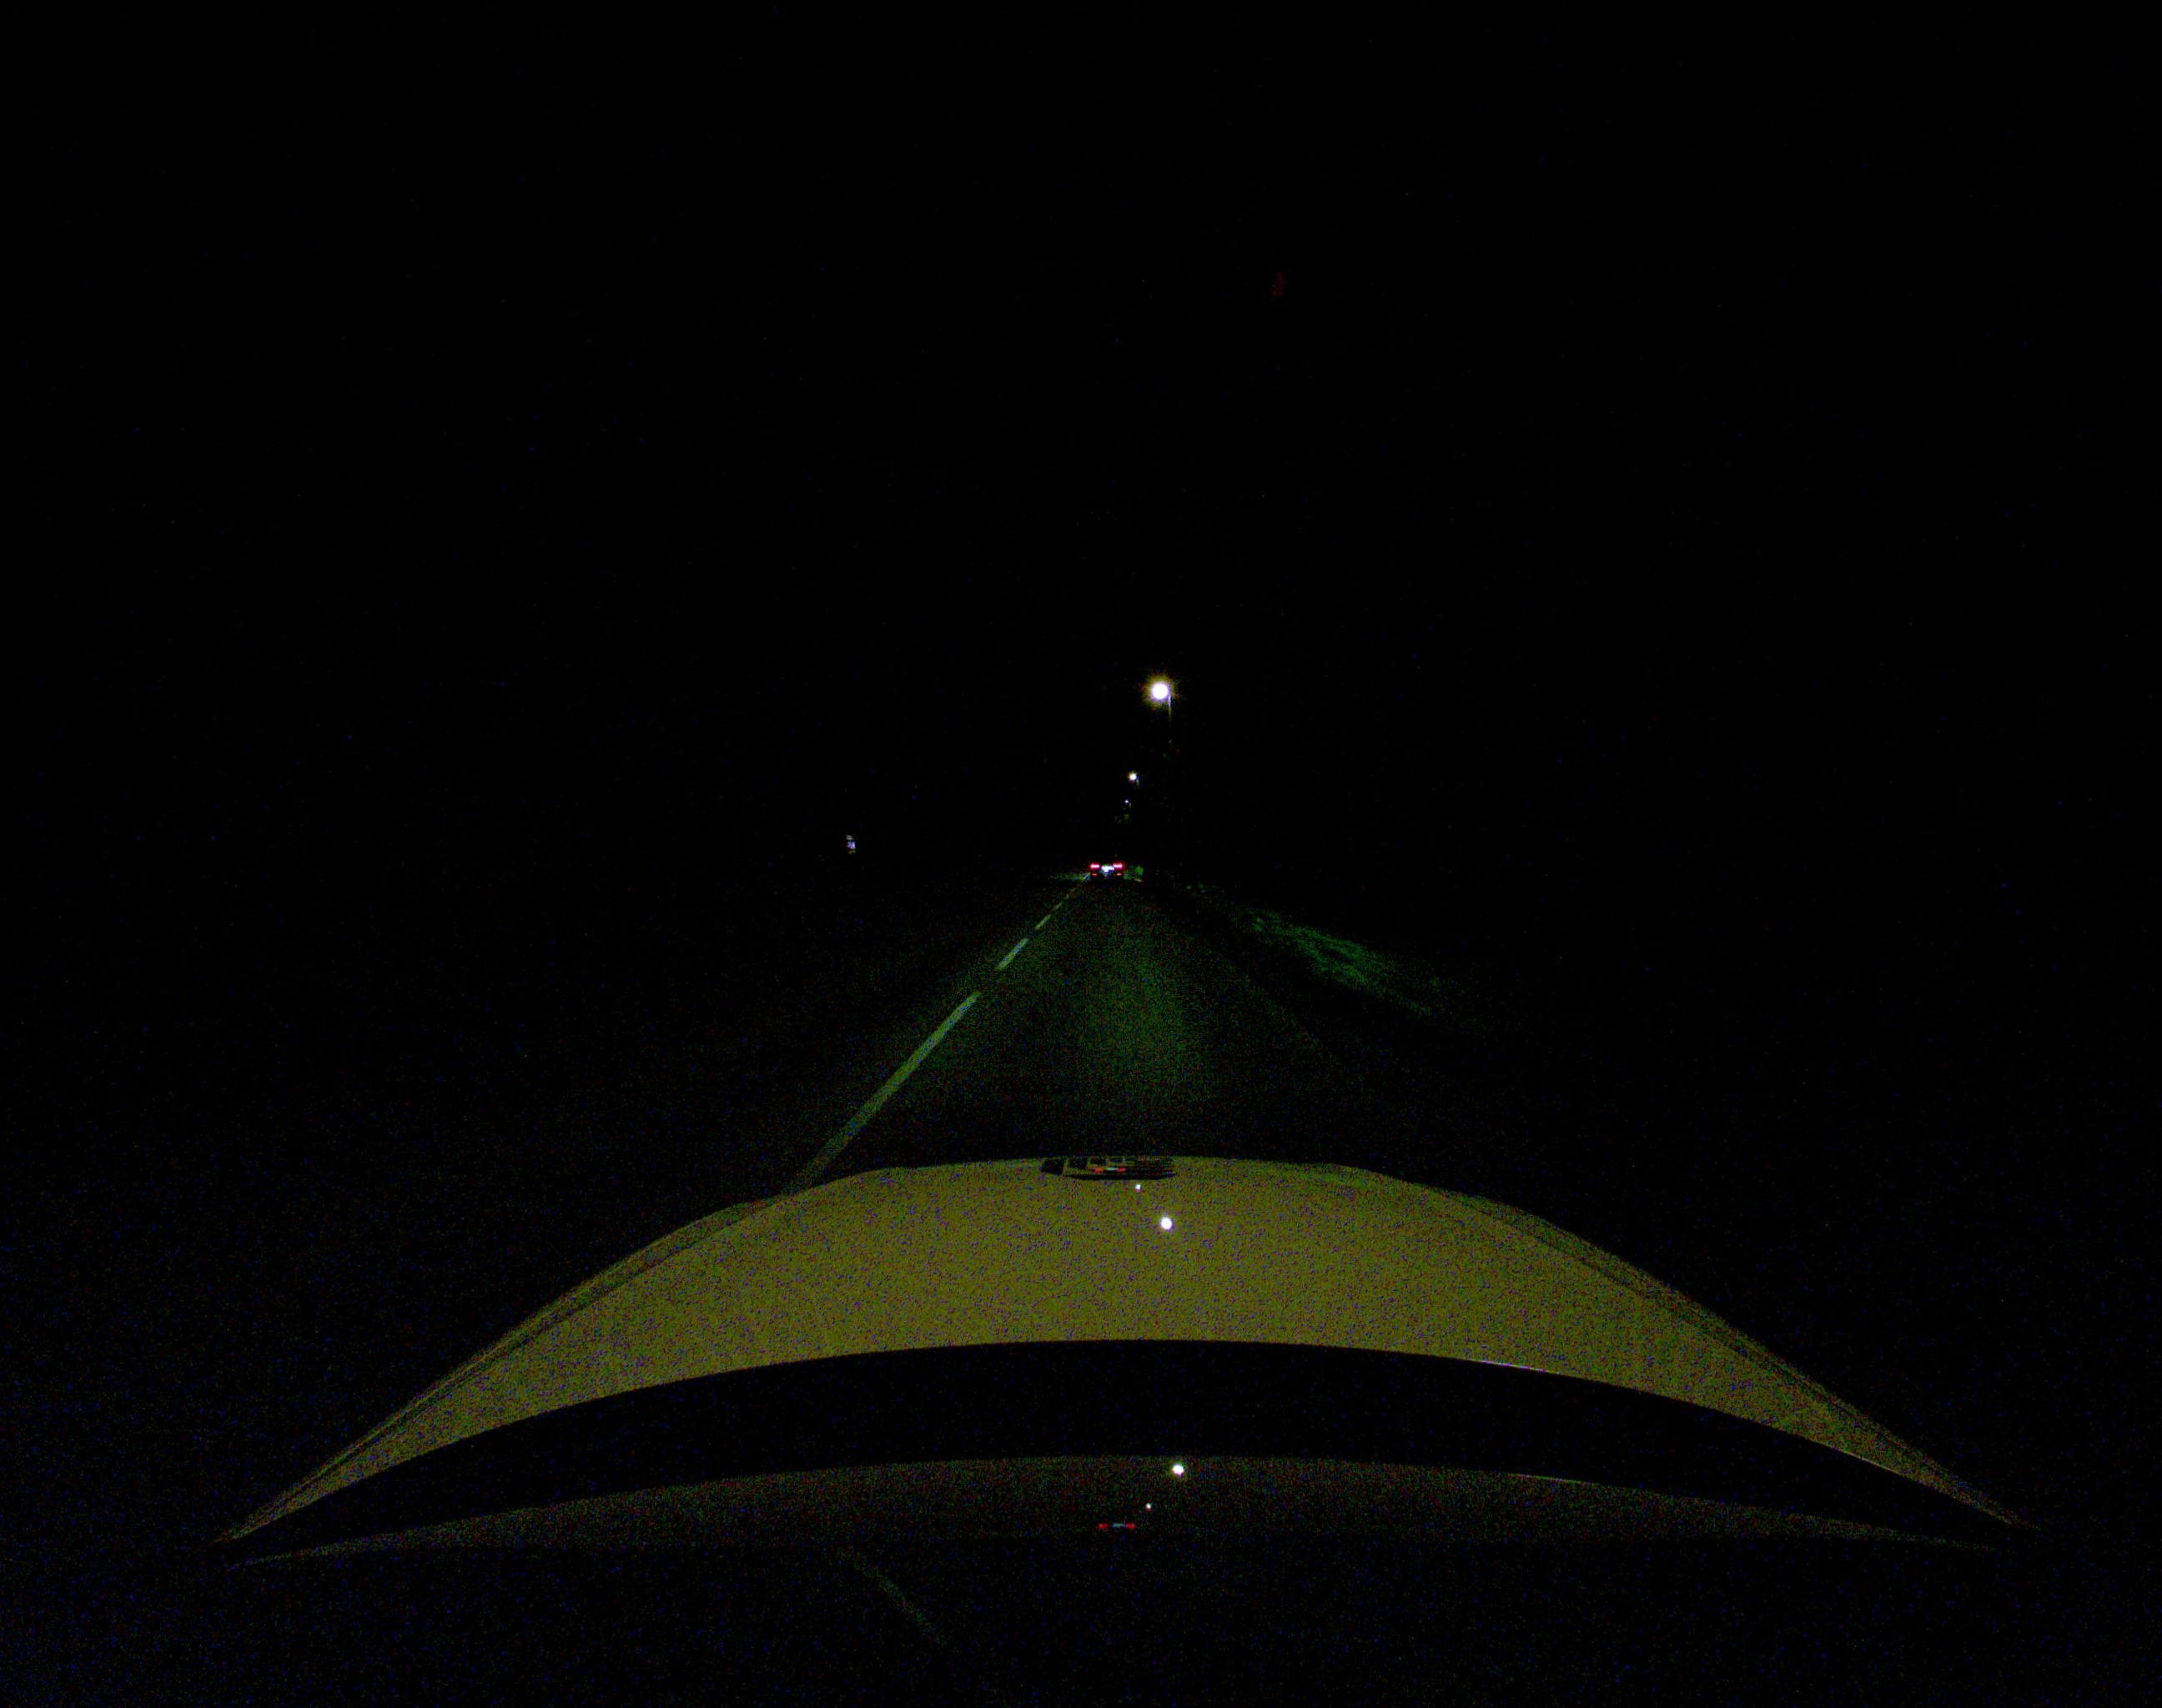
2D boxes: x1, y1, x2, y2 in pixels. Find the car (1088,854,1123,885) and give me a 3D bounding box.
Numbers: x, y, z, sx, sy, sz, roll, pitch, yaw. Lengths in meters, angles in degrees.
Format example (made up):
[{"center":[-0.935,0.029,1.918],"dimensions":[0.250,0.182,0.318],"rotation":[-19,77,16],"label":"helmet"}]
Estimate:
[{"center":[1.359,0.794,44.776],"dimensions":[1.808,1.573,3.944],"rotation":[-1,0,1],"label":"car"}]
